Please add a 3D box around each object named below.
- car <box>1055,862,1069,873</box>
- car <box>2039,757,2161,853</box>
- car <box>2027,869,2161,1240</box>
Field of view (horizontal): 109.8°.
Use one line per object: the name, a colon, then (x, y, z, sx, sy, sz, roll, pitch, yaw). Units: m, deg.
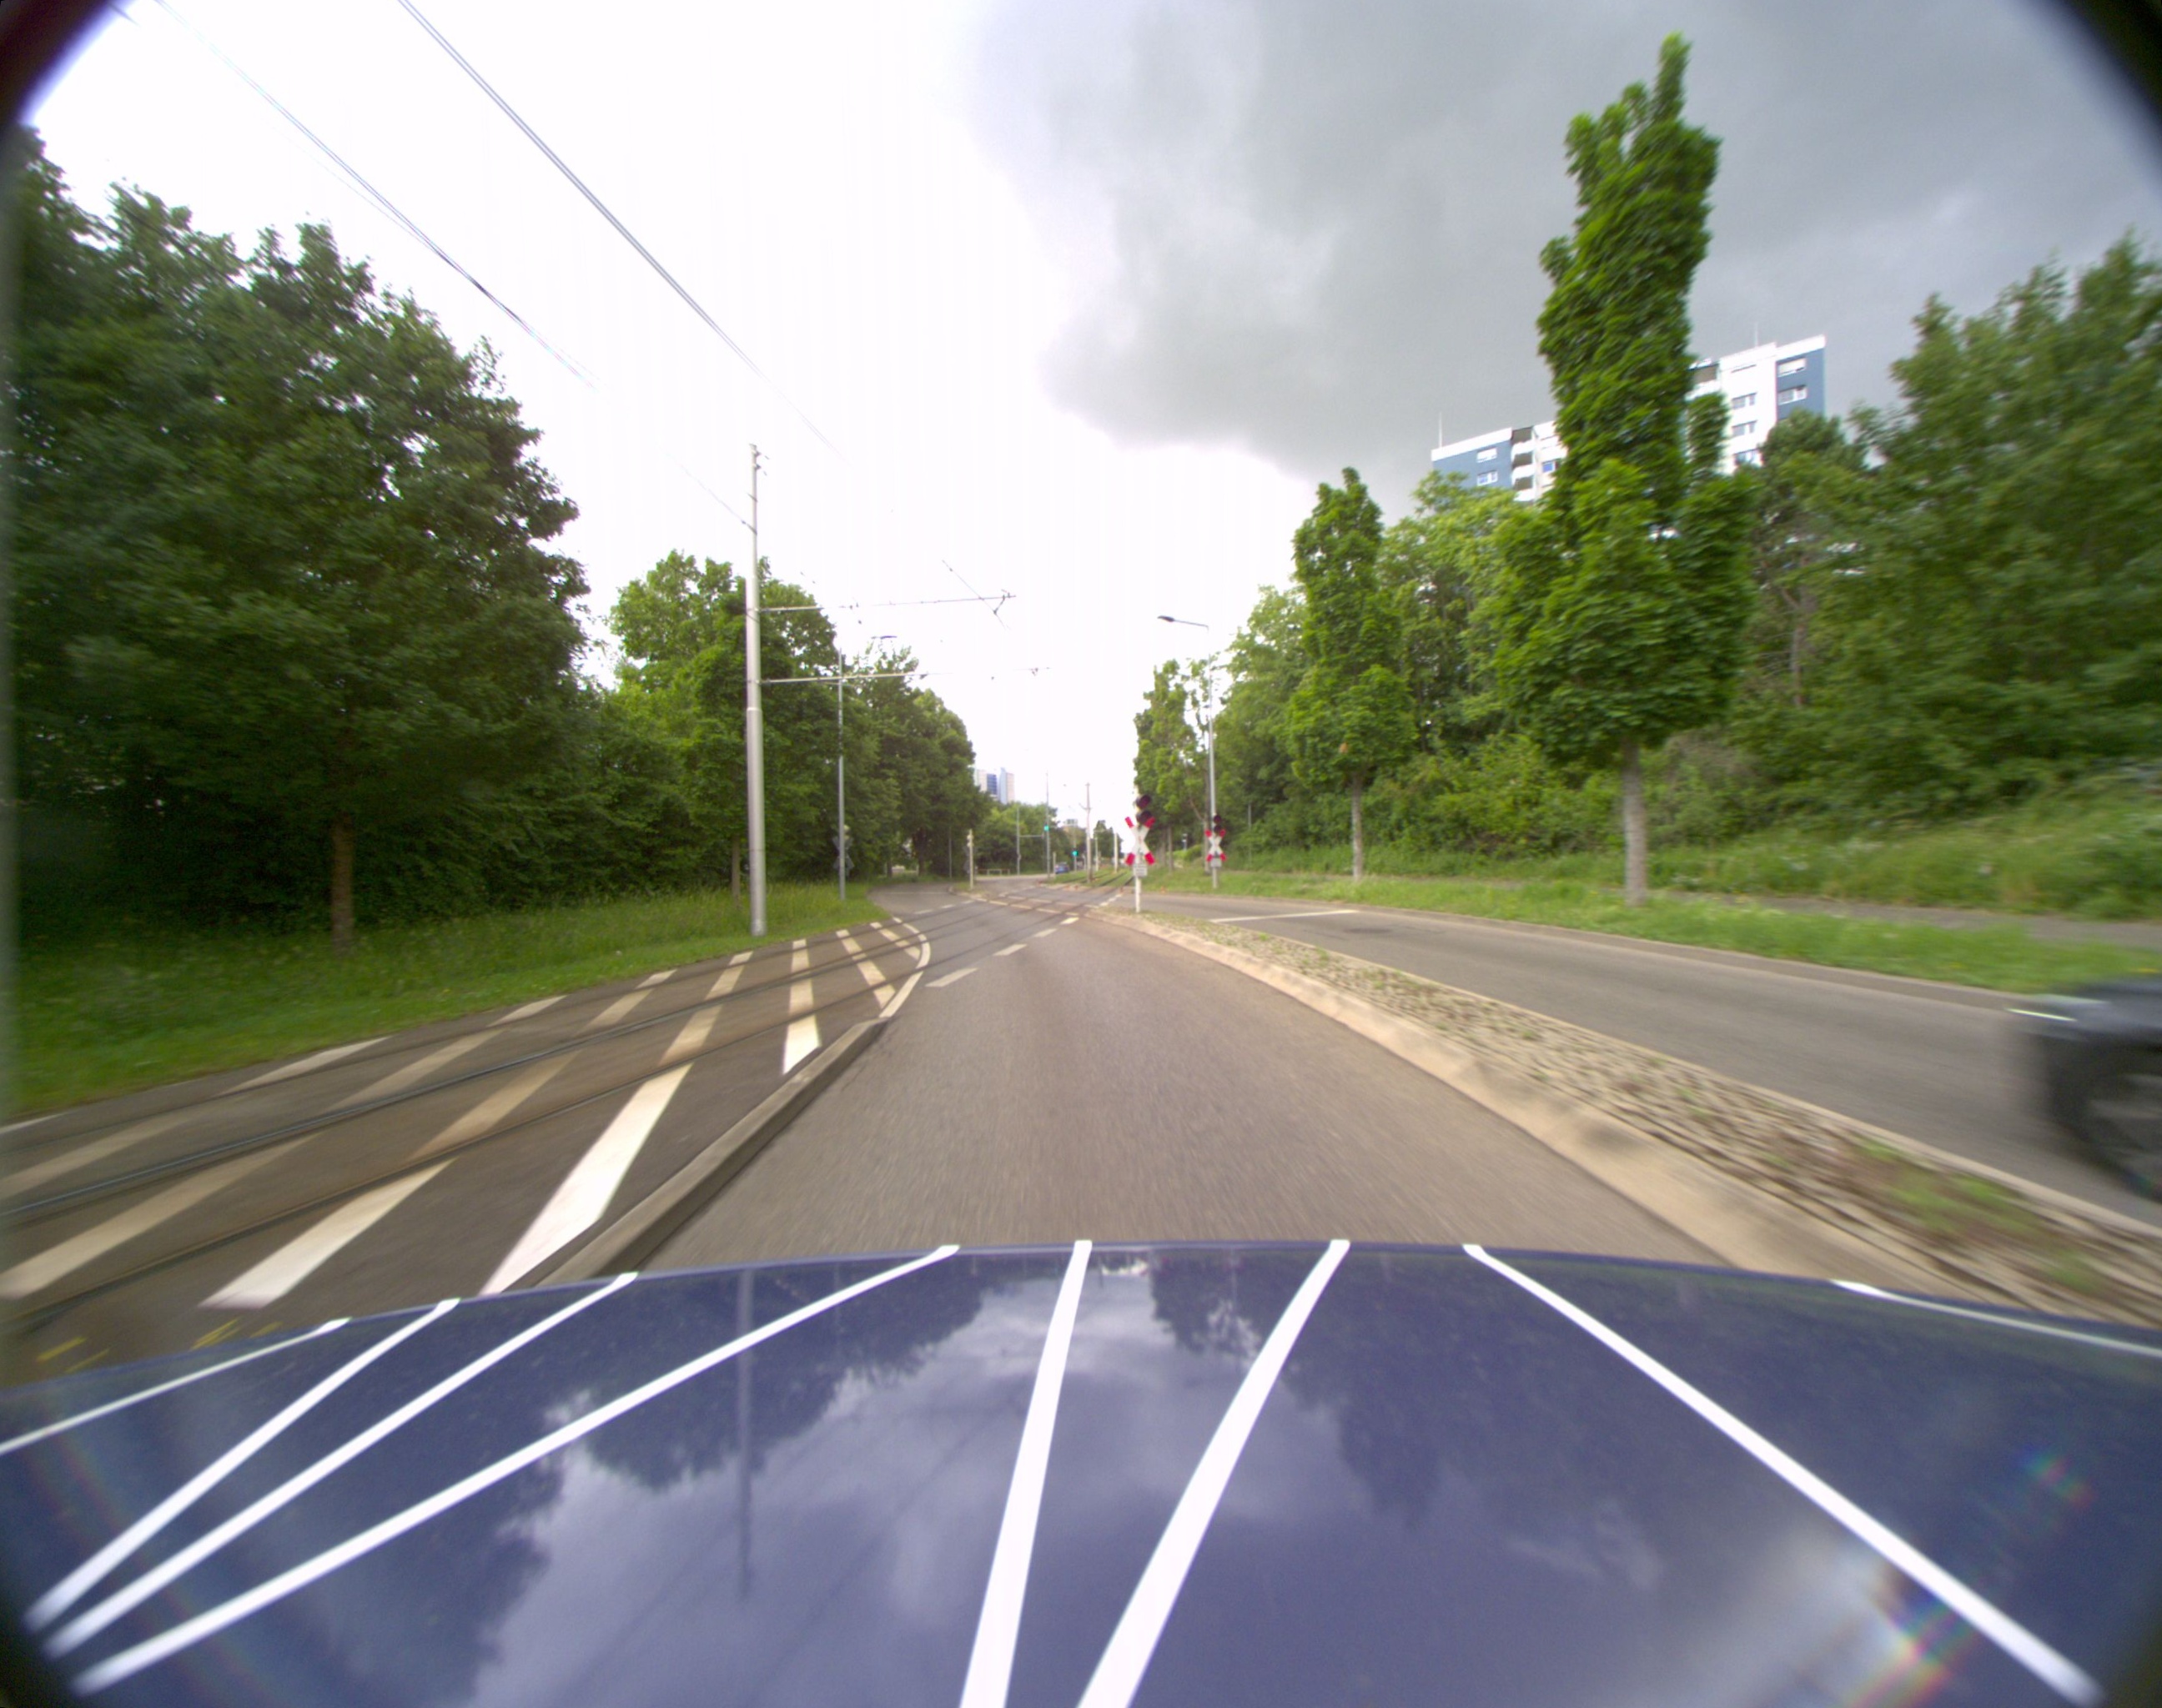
car: (-2.645, 1.943, 107.051, 1.872, 1.511, 4.239, -2, -1, -1)
car: (20.565, -0.925, 12.846, 2.143, 1.714, 5.325, -2, 0, 3)
car: (5.137, 0.742, 1.124, 1.998, 1.430, 4.427, -2, -1, 2)
